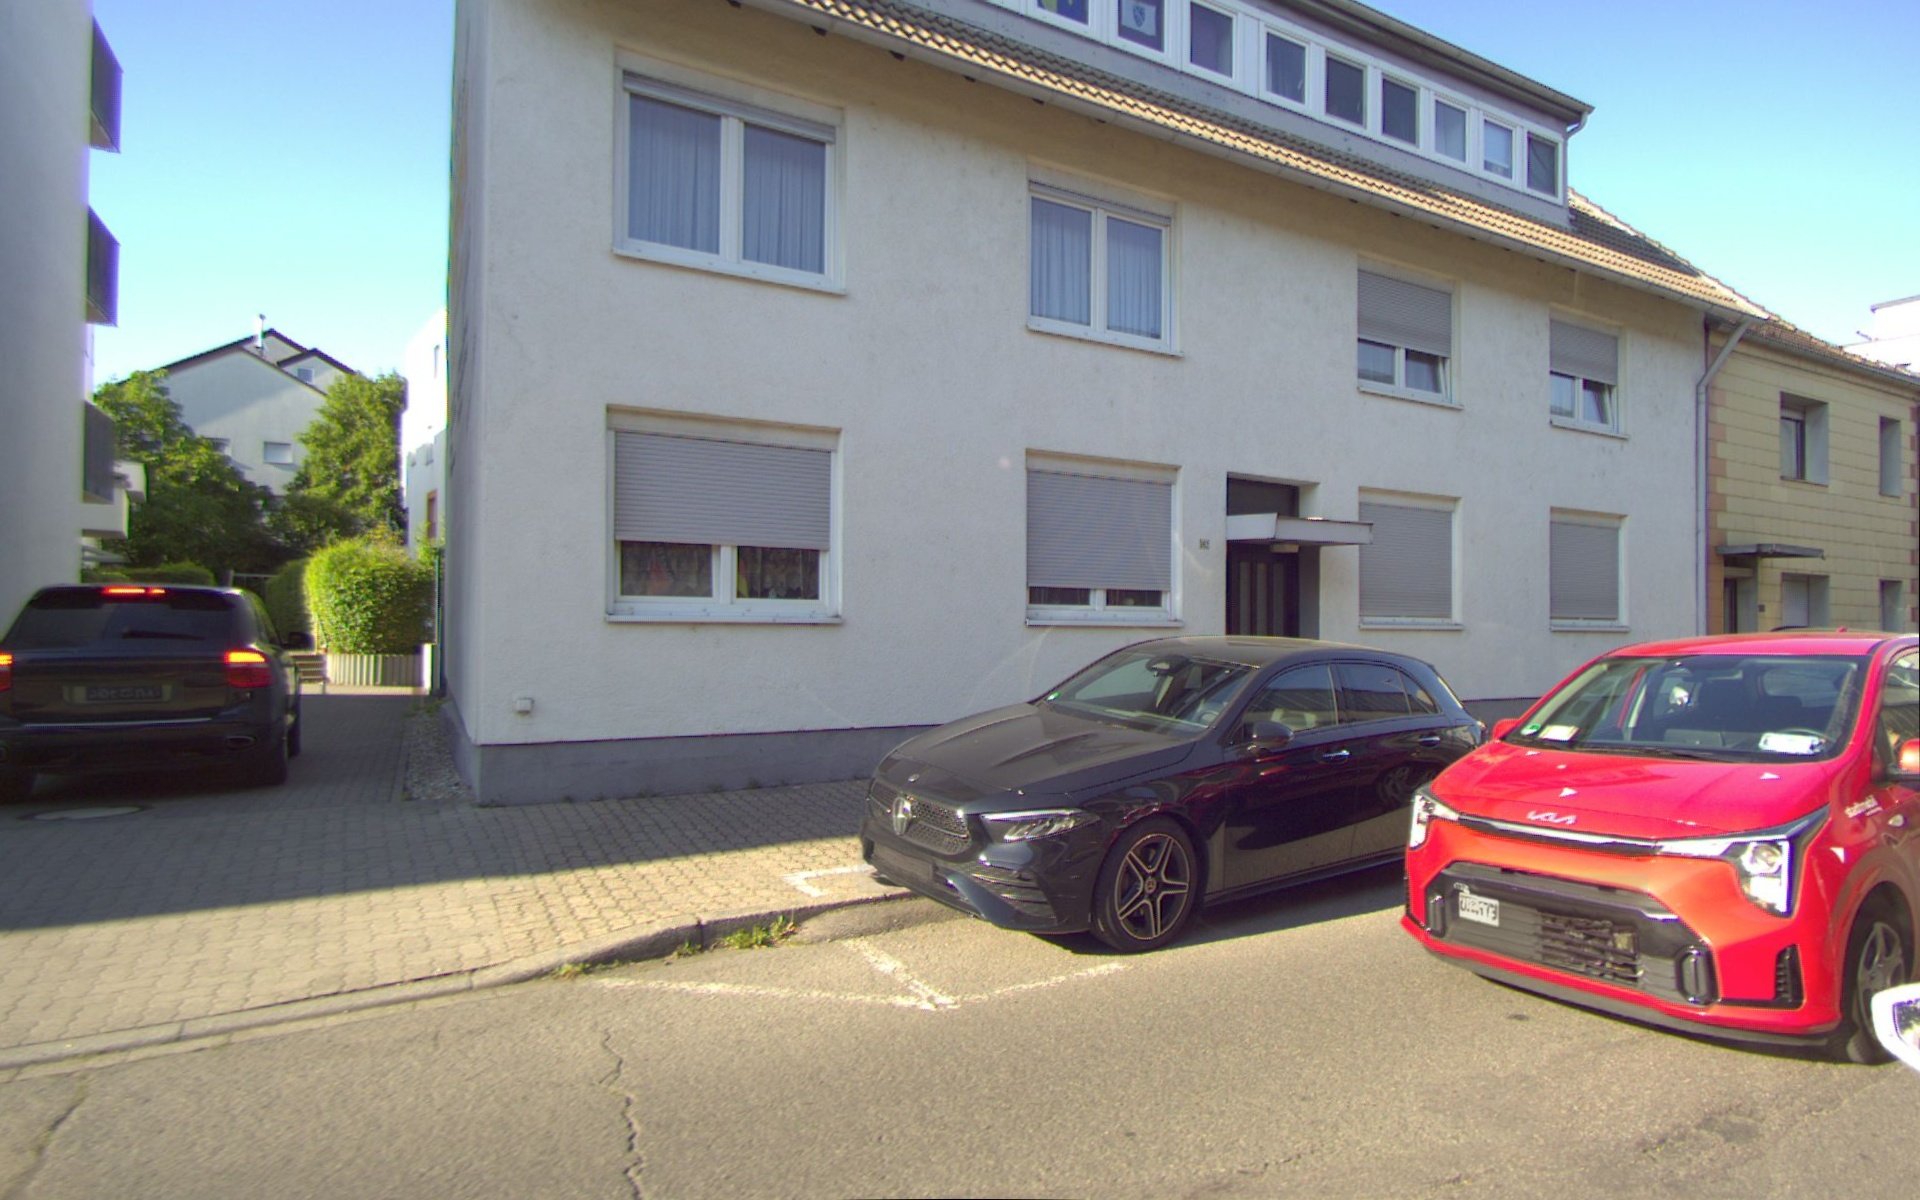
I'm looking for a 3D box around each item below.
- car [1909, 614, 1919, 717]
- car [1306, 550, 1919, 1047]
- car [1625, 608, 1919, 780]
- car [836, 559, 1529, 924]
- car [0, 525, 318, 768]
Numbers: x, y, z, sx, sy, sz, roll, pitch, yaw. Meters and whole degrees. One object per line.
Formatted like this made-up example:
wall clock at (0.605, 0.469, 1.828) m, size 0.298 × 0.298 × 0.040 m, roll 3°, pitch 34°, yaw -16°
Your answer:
car at (17.142, 1.039, 16.052) m, size 4.144 × 1.608 × 1.799 m, roll 0°, pitch 1°, yaw -31°
car at (3.833, 0.687, 4.944) m, size 4.097 × 1.510 × 1.833 m, roll 1°, pitch -3°, yaw -32°
car at (9.800, 0.928, 11.555) m, size 4.284 × 1.608 × 1.849 m, roll 1°, pitch 1°, yaw -30°
car at (1.549, 0.649, 6.197) m, size 4.290 × 1.556 × 1.674 m, roll 2°, pitch 0°, yaw -34°
car at (-7.155, 0.395, 9.209) m, size 1.991 × 1.660 × 4.583 m, roll 1°, pitch -2°, yaw -31°
